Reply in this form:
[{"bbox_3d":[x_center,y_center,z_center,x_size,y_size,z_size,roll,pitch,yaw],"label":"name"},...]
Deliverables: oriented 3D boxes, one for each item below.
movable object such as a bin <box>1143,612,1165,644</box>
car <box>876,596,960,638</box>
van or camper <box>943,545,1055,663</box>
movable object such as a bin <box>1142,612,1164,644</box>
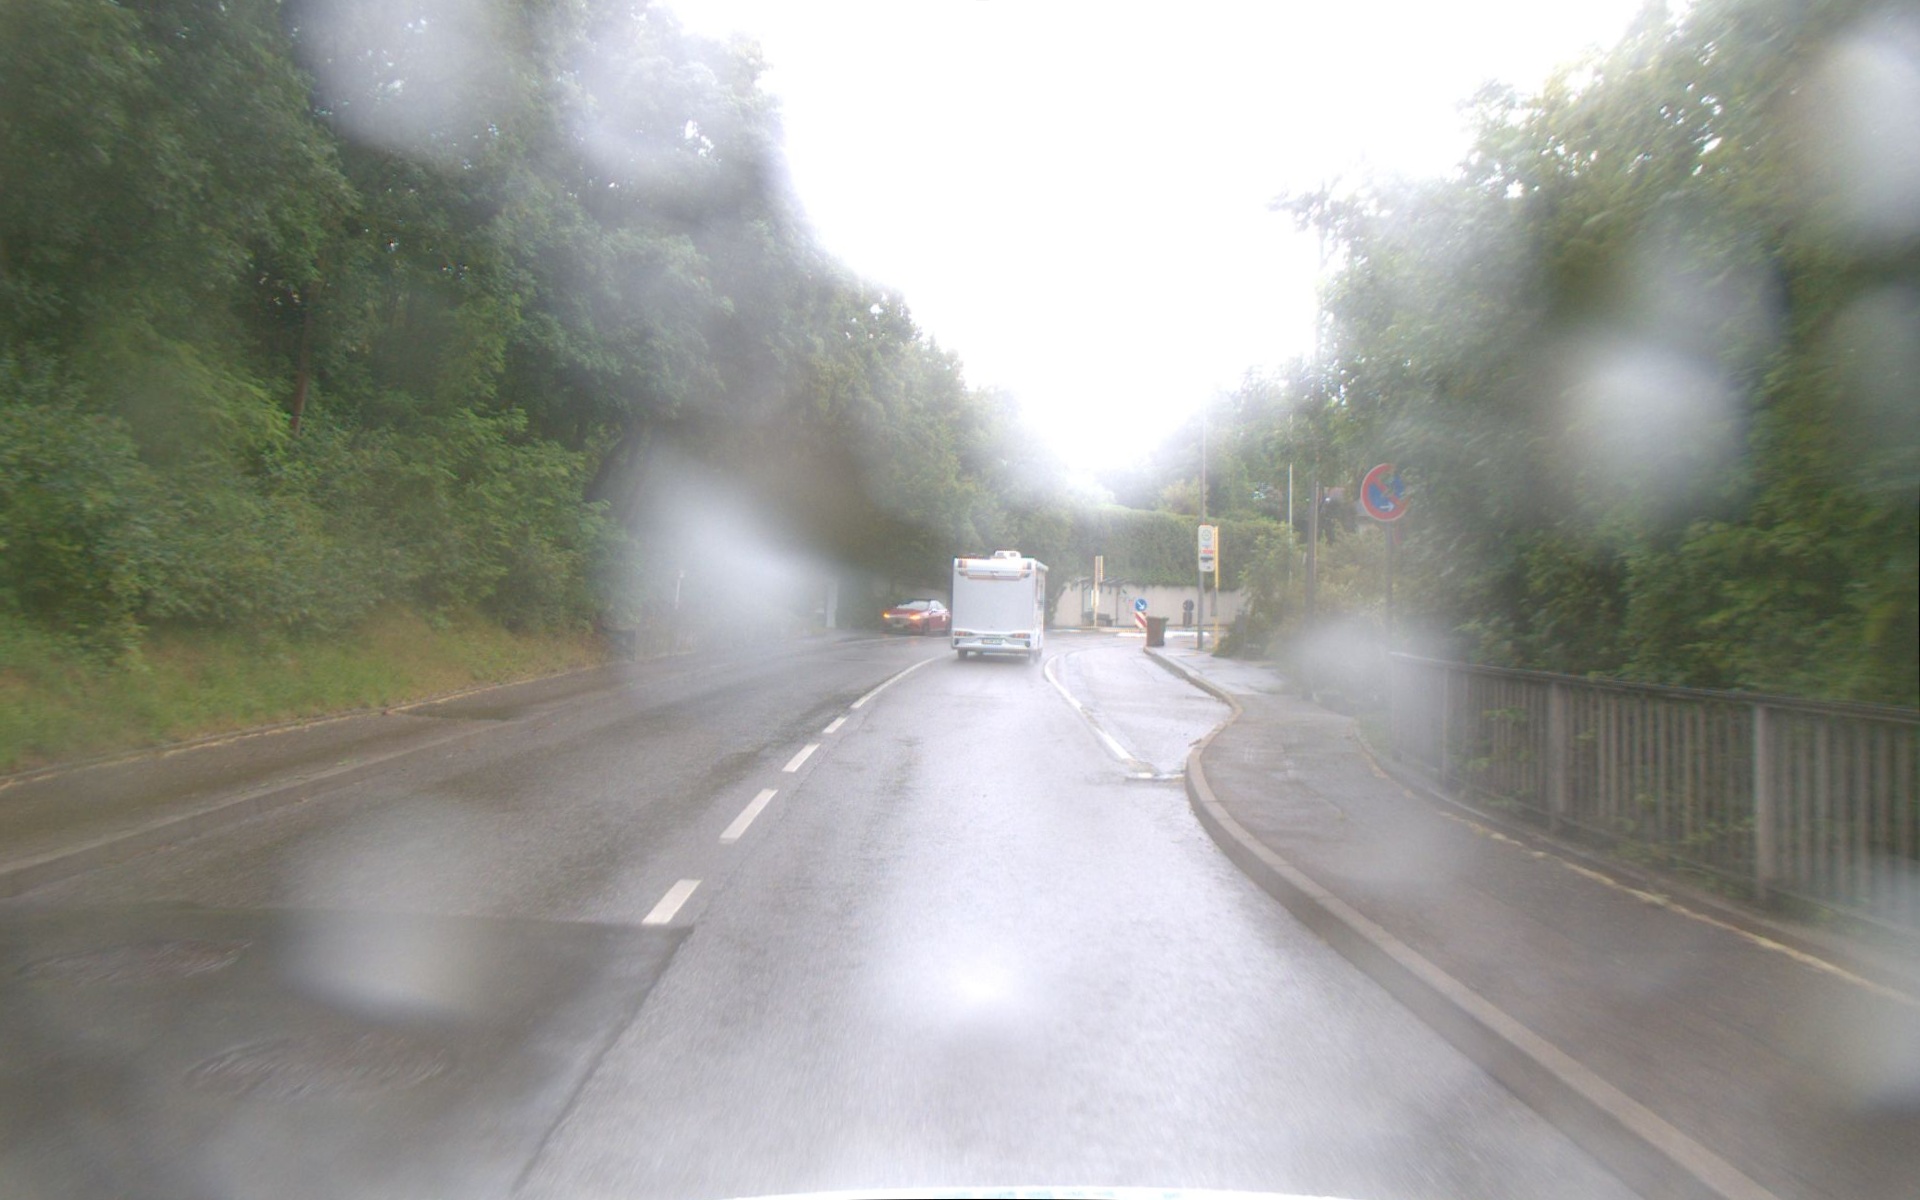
[{"bbox_3d":[7.147,1.038,60.850,0.761,1.153,0.739,2,0,9],"label":"movable object such as a bin"},{"bbox_3d":[-1.690,0.671,68.088,1.952,1.589,4.654,2,1,18],"label":"car"},{"bbox_3d":[1.172,0.133,46.042,2.486,2.976,5.952,-2,-1,6],"label":"van or camper"},{"bbox_3d":[6.965,1.005,59.663,0.761,1.153,0.739,2,0,9],"label":"movable object such as a bin"}]
